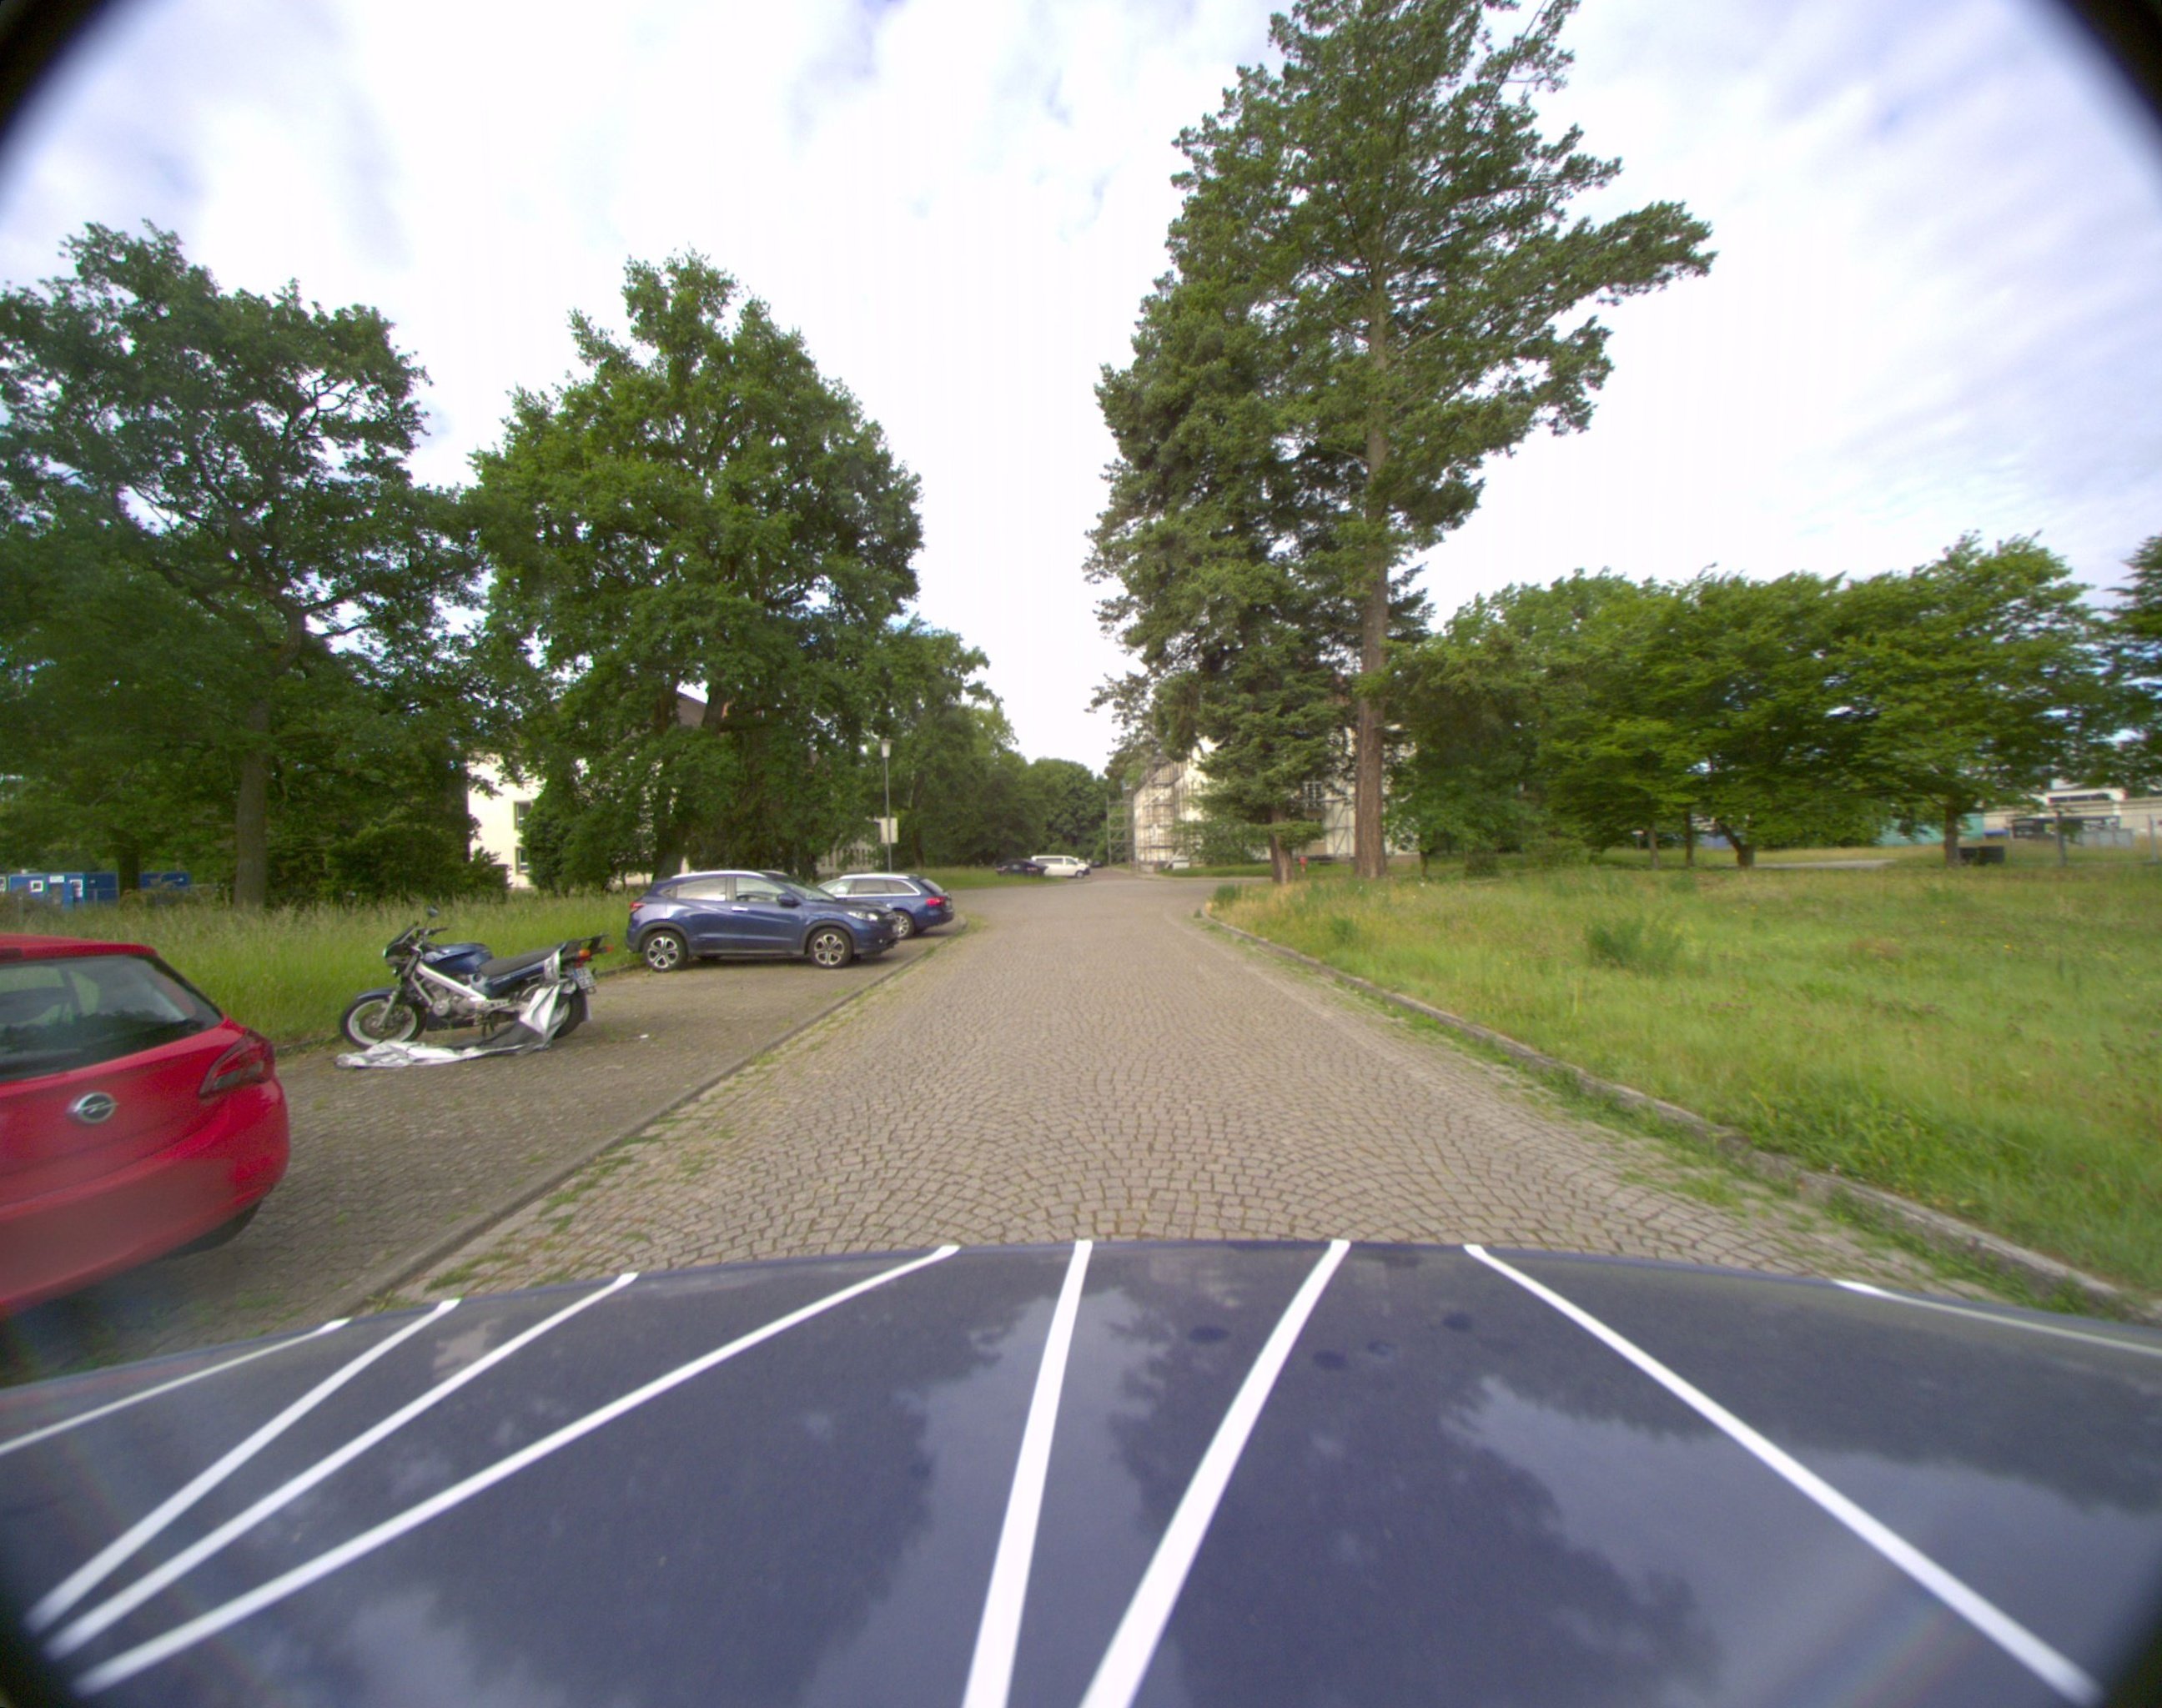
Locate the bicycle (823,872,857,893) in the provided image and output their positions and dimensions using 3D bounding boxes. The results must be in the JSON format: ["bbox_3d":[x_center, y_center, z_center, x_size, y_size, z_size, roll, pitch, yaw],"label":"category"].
[{"bbox_3d":[-14.815,1.744,46.713,1.862,1.163,0.487,-3,0,-26],"label":"bicycle"}]

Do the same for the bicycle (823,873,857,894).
[{"bbox_3d":[-14.608,1.759,46.148,1.862,1.163,0.487,-3,0,-26],"label":"bicycle"}]

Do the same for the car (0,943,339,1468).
[{"bbox_3d":[-5.308,1.184,2.465,3.934,1.488,1.784,-1,0,-2],"label":"car"}]

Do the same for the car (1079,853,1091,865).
[{"bbox_3d":[0.670,0.929,132.548,1.963,2.002,4.260,-1,0,-2],"label":"car"}]

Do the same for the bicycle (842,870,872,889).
[{"bbox_3d":[-14.931,1.698,50.712,1.860,1.163,0.488,-1,0,-10],"label":"bicycle"}]

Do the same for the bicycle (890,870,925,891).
[{"bbox_3d":[-10.638,1.618,46.512,1.942,1.163,0.487,-4,1,-28],"label":"bicycle"}]

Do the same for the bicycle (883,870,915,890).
[{"bbox_3d":[-11.899,1.681,49.665,1.941,1.163,0.487,-4,1,-22],"label":"bicycle"}]

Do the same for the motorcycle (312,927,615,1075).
[{"bbox_3d":[-5.586,1.316,6.957,2.236,1.195,0.568,-1,0,-3],"label":"motorcycle"}]

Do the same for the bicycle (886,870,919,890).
[{"bbox_3d":[-11.445,1.657,48.815,1.941,1.163,0.487,-4,1,-22],"label":"bicycle"}]

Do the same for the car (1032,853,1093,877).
[{"bbox_3d":[-1.597,0.943,66.349,5.149,2.002,2.000,-1,0,-1],"label":"car"}]

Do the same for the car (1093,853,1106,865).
[{"bbox_3d":[3.203,0.838,132.816,1.963,2.002,4.260,-1,0,-2],"label":"car"}]

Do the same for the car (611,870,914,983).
[{"bbox_3d":[-5.144,1.142,12.770,4.256,1.613,1.886,-1,0,-2],"label":"car"}]

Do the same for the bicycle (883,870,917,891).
[{"bbox_3d":[-11.274,1.652,47.424,1.942,1.163,0.487,-4,1,-26],"label":"bicycle"}]

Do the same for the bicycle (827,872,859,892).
[{"bbox_3d":[-15.099,1.756,48.189,1.862,1.163,0.487,-3,0,-29],"label":"bicycle"}]

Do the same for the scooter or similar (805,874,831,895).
[{"bbox_3d":[-15.691,1.827,45.357,1.308,1.163,0.413,-3,1,-2],"label":"scooter or similar"}]

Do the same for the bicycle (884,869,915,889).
[{"bbox_3d":[-12.286,1.698,51.513,1.941,1.163,0.537,-4,1,-17],"label":"bicycle"}]

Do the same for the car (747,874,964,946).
[{"bbox_3d":[-5.068,1.252,17.512,4.367,1.430,1.927,-1,0,2],"label":"car"}]
